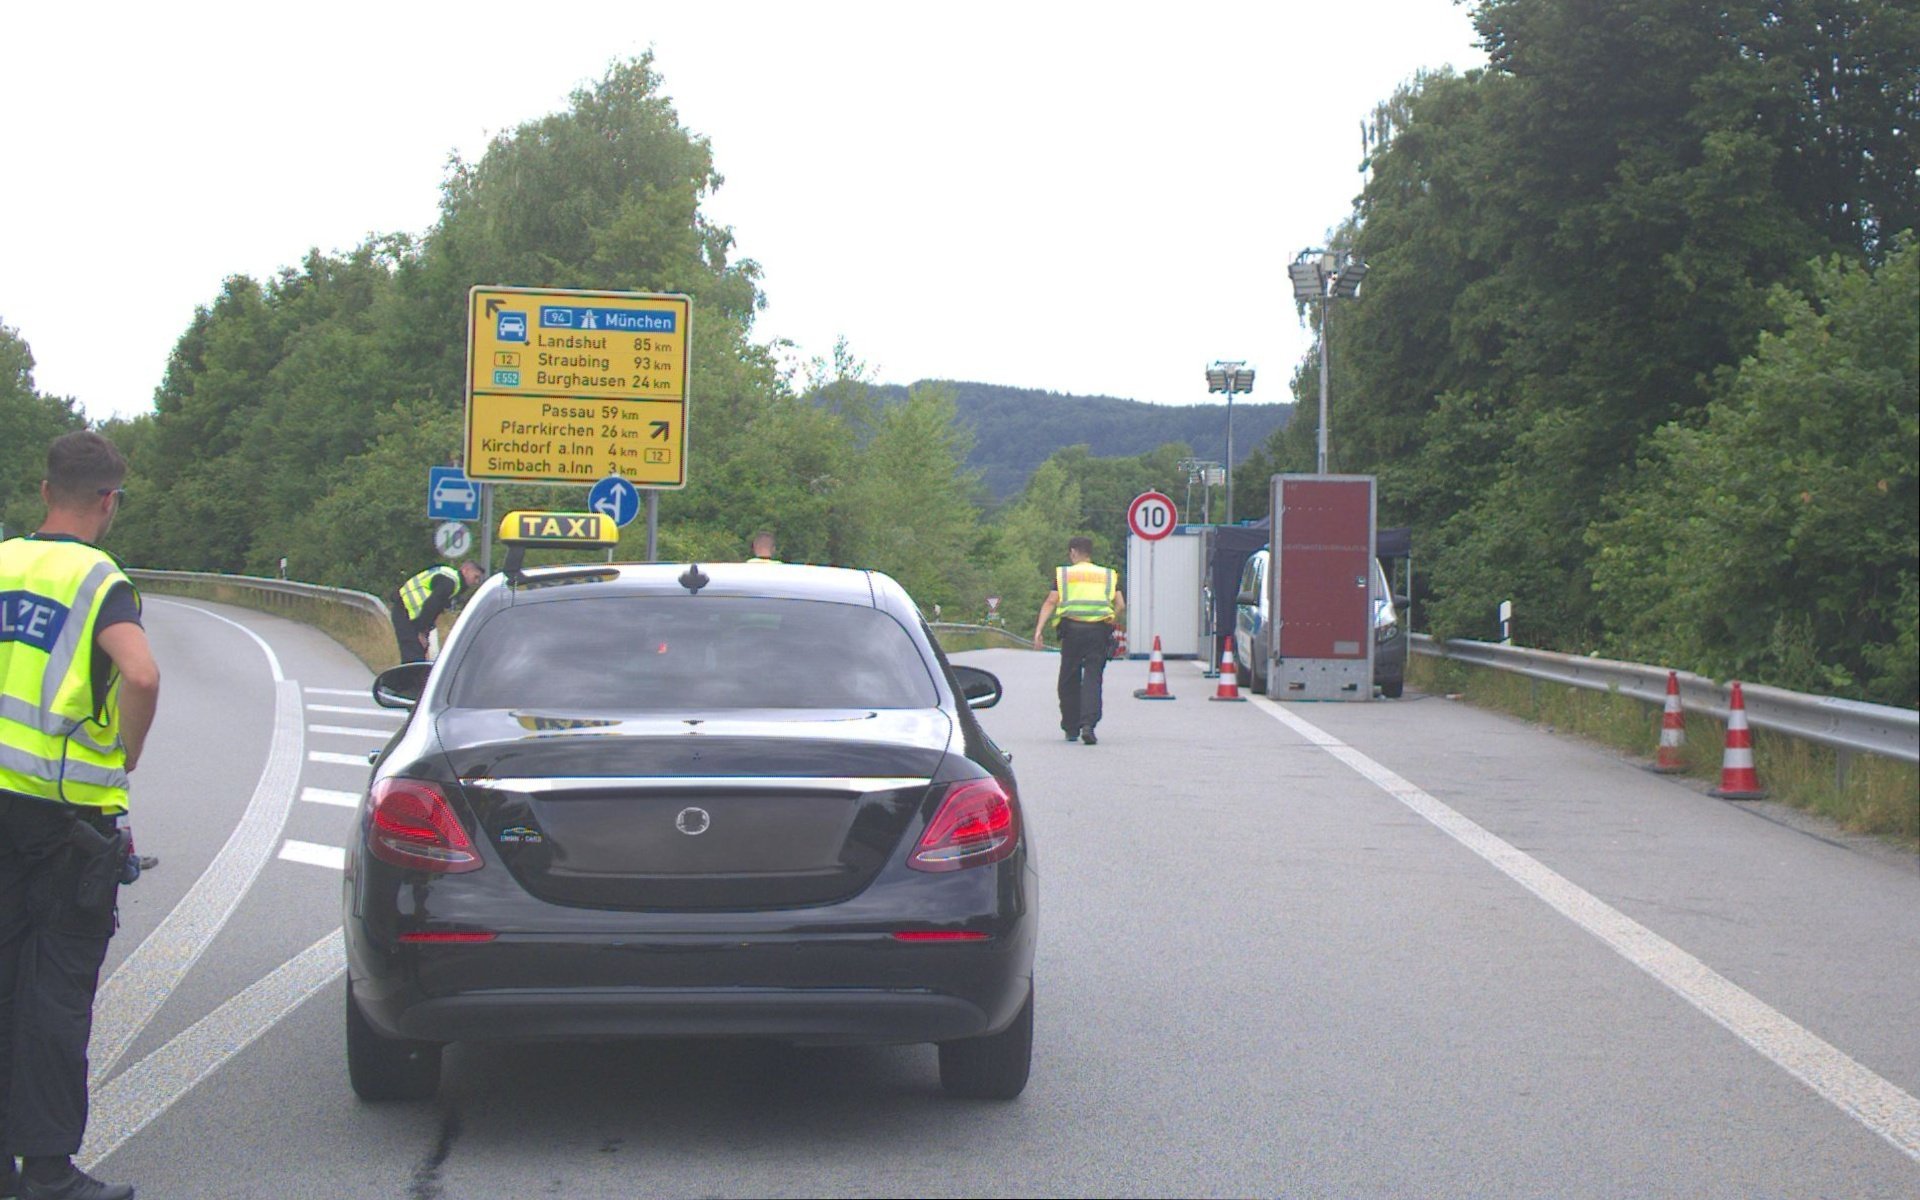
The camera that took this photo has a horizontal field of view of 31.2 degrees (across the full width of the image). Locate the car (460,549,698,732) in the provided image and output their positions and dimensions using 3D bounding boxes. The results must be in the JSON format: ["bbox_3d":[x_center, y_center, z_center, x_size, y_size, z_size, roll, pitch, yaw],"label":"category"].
[{"bbox_3d":[-3.289,0.304,30.341,1.855,1.493,4.257,0,1,-3],"label":"car"}]

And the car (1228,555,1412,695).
[{"bbox_3d":[4.673,0.277,45.341,1.916,1.672,5.083,2,1,1],"label":"car"}]

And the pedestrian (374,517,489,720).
[{"bbox_3d":[-4.672,0.155,30.414,0.910,1.763,0.912,0,1,-3],"label":"pedestrian"}]

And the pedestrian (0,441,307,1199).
[{"bbox_3d":[-2.010,0.525,7.589,0.761,1.712,0.816,0,1,37],"label":"pedestrian"}]

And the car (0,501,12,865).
[{"bbox_3d":[-5.367,0.417,14.553,1.868,1.737,4.009,0,1,-4],"label":"car"}]

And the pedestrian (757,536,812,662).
[{"bbox_3d":[-2.738,-0.022,53.696,0.664,1.954,0.759,0,0,16],"label":"pedestrian"}]

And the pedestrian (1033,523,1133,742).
[{"bbox_3d":[1.034,0.269,29.088,0.812,1.824,0.809,0,0,-1],"label":"pedestrian"}]

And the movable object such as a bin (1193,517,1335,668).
[{"bbox_3d":[4.748,-0.136,54.180,1.993,2.272,4.168,1,1,2],"label":"movable object such as a bin"}]

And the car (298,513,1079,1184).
[{"bbox_3d":[-0.836,0.561,10.401,1.855,1.590,4.376,0,1,-5],"label":"car"}]

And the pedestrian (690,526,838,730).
[{"bbox_3d":[-1.666,0.225,29.144,0.908,1.692,0.914,0,1,-32],"label":"pedestrian"}]
